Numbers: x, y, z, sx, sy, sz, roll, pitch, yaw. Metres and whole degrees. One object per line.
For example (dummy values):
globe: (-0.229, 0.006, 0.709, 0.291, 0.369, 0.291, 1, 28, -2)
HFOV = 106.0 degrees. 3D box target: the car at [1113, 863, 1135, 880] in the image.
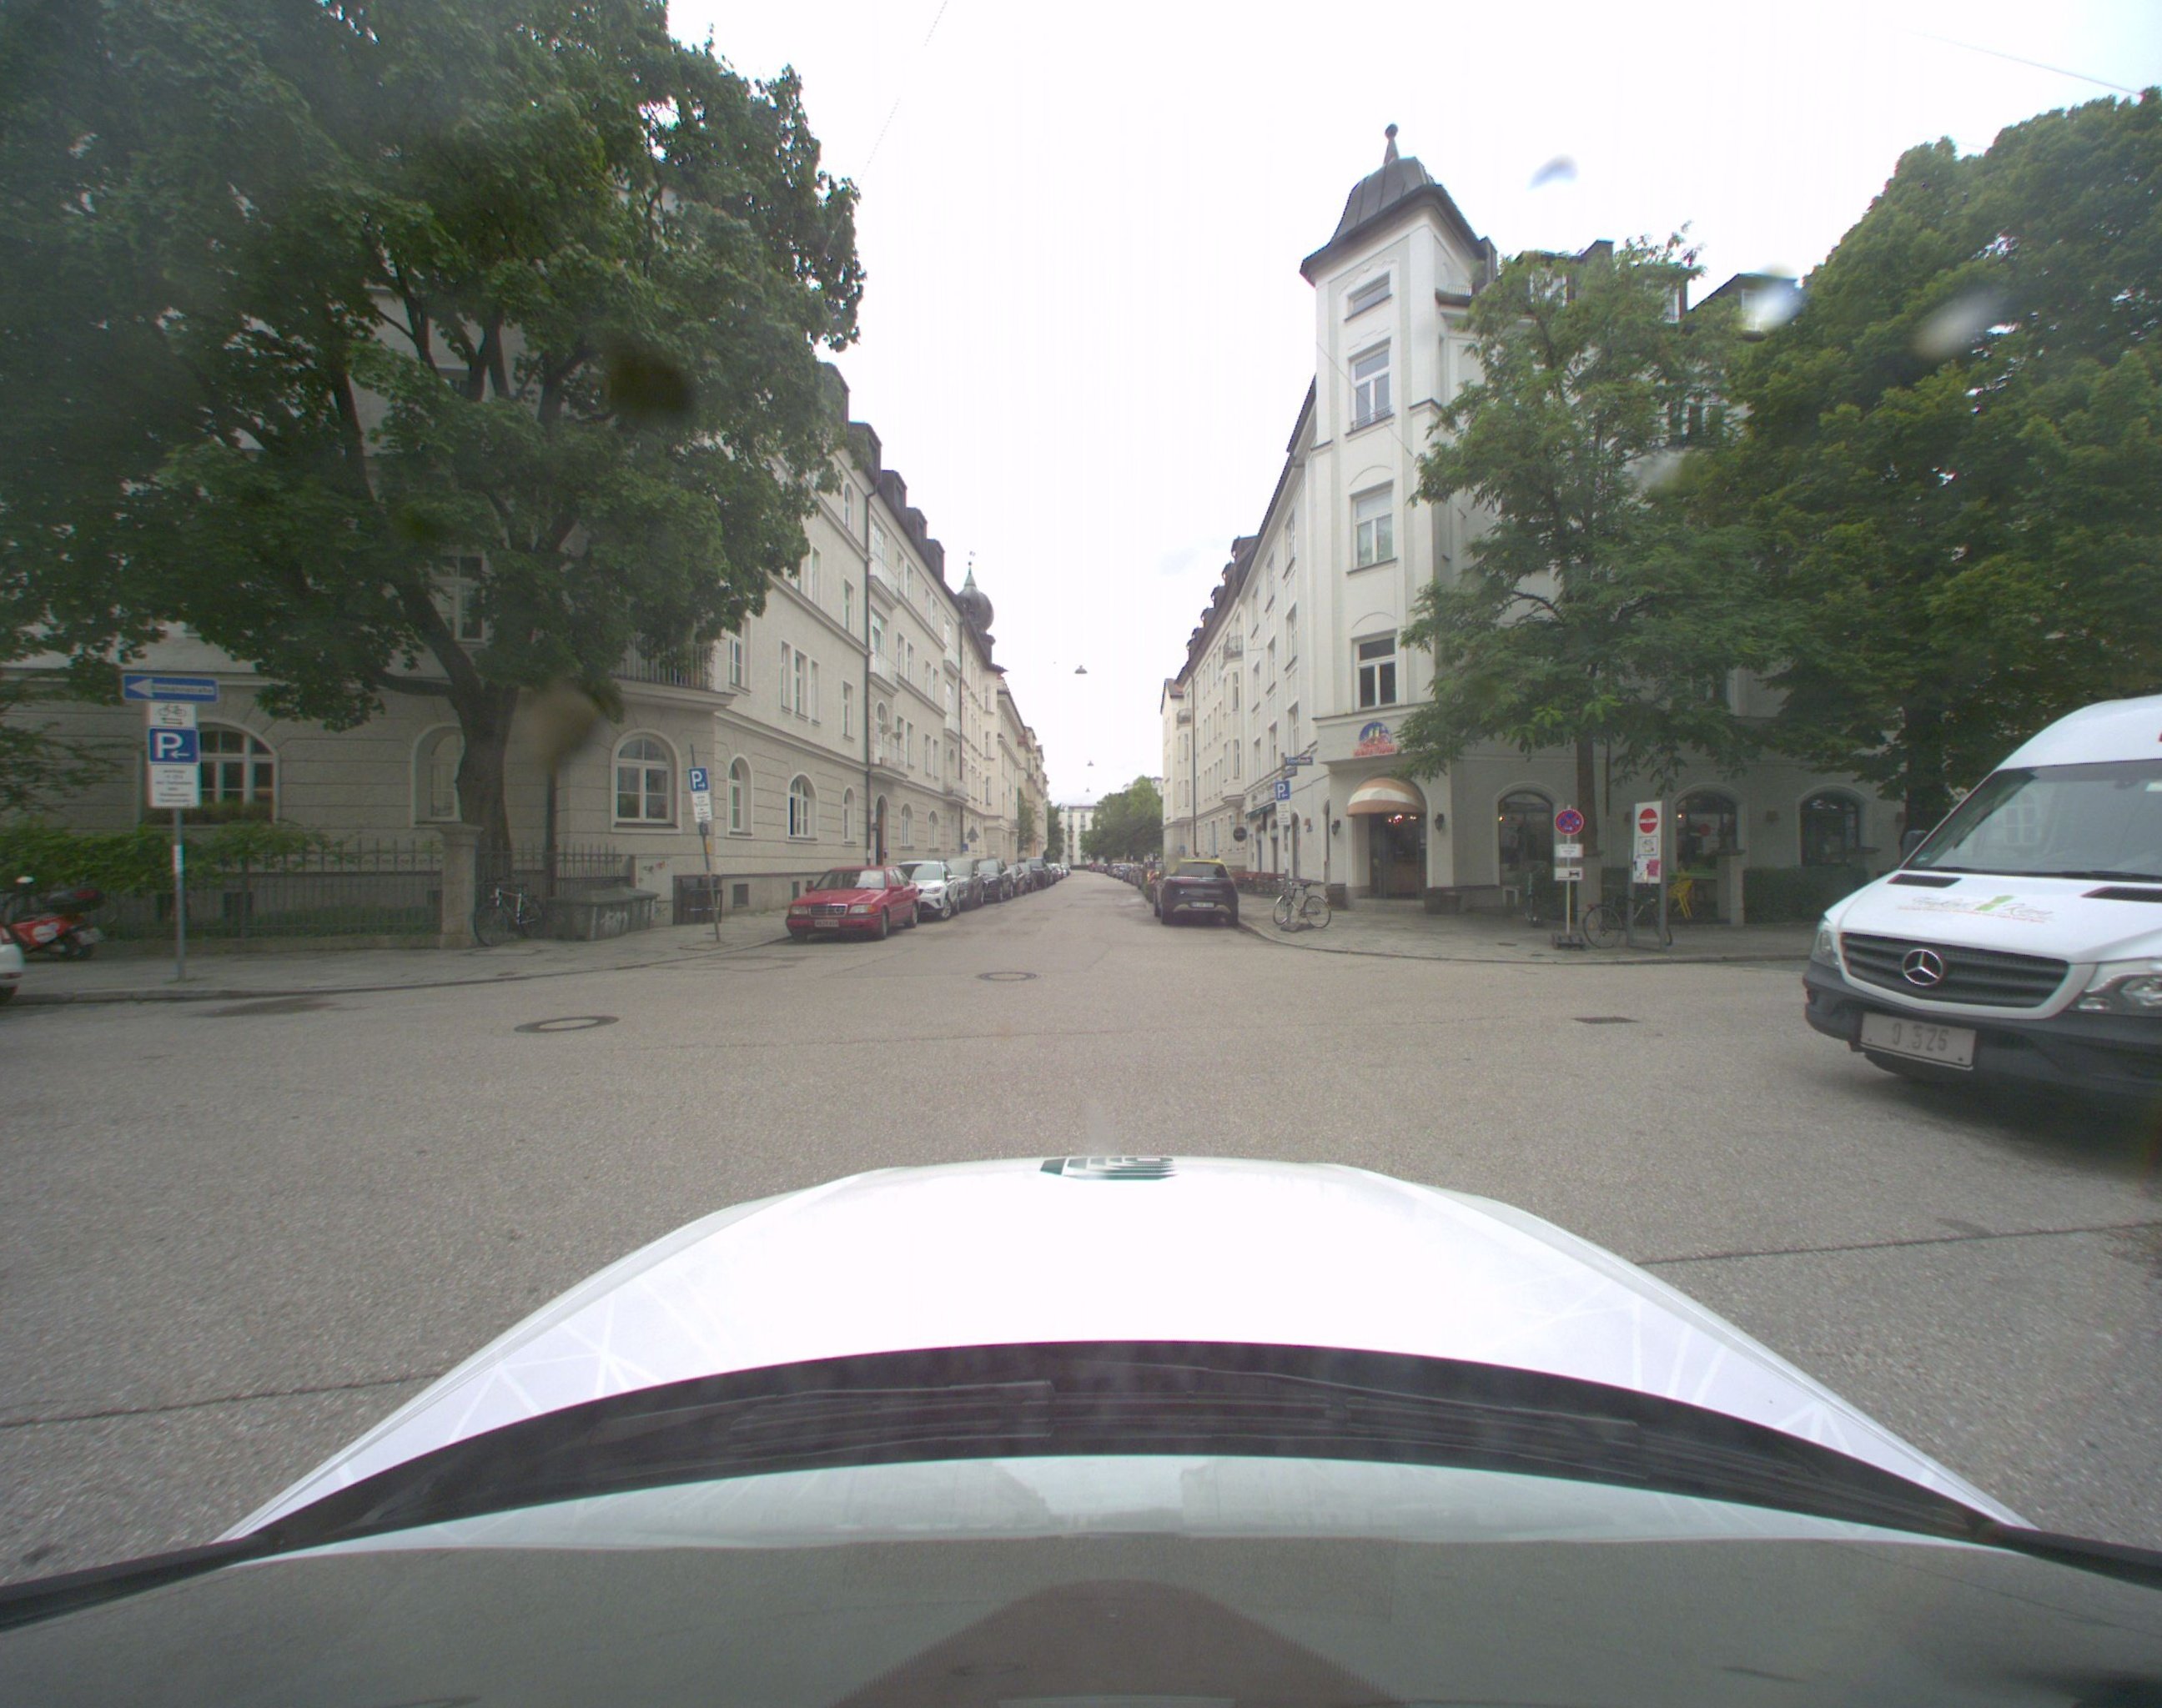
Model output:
car: (4.164, 1.677, 79.148, 1.901, 1.576, 3.999, 0, -1, -1)

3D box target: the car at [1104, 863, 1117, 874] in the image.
car: (4.865, 2.380, 135.049, 1.944, 1.652, 3.998, -2, -1, -1)

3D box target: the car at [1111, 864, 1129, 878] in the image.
car: (4.274, 1.866, 89.876, 1.724, 1.417, 3.850, 0, -1, -1)

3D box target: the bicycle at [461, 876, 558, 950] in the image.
bicycle: (-9.454, 0.935, 13.550, 0.493, 1.052, 1.823, 0, 1, -7)

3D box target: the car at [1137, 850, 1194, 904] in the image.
car: (3.152, 0.822, 31.155, 1.813, 1.871, 4.290, 2, -1, 2)

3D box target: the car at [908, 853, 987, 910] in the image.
car: (-4.206, 0.841, 26.326, 1.988, 1.676, 4.009, 0, -1, -2)

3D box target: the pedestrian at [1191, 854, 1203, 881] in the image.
pedestrian: (7.947, 0.903, 55.743, 0.773, 1.851, 0.861, -1, -1, 9)

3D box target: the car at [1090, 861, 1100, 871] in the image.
car: (2.947, 2.554, 174.482, 1.988, 1.982, 4.889, 0, 0, -2)

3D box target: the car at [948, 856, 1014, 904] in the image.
car: (-3.747, 0.947, 31.207, 1.987, 1.676, 4.287, 0, -1, -1)

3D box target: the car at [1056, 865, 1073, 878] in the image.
car: (-2.033, 2.087, 98.526, 1.988, 1.574, 3.998, 0, -1, -1)

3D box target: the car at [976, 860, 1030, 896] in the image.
car: (-3.538, 1.052, 37.496, 1.918, 1.546, 4.003, 0, 0, 3)

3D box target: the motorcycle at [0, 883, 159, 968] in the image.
motorcycle: (-14.271, 0.987, 11.361, 1.981, 1.112, 0.590, 0, 0, -6)

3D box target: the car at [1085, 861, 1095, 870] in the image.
car: (1.990, 2.695, 185.699, 1.988, 1.982, 4.889, 0, 0, -2)

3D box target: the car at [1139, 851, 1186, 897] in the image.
car: (3.633, 0.857, 36.809, 1.813, 1.923, 4.185, 2, -1, 2)

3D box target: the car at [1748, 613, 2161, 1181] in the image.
car: (7.724, 0.163, 5.100, 5.888, 2.591, 2.055, 0, 1, -8)

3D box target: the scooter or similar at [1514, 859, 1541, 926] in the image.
scooter or similar: (9.100, 0.758, 16.623, 0.423, 1.279, 1.286, 0, 1, 26)

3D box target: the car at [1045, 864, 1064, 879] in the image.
car: (-2.532, 1.649, 77.381, 1.729, 1.420, 3.998, 0, 0, -1)

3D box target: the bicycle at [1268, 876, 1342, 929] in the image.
bicycle: (4.730, 1.006, 17.309, 0.541, 0.999, 1.743, -4, 1, -22)

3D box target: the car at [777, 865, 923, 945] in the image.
car: (-4.490, 0.923, 16.465, 1.725, 1.378, 4.226, 0, -1, 0)

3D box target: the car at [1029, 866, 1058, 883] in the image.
car: (-2.729, 1.482, 59.843, 1.900, 1.222, 4.000, 0, 0, 1)

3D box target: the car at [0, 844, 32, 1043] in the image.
car: (-10.619, 0.750, 5.281, 4.305, 1.607, 1.952, -1, 0, -17)

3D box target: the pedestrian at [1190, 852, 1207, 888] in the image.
pedestrian: (6.134, 0.807, 42.614, 0.775, 1.851, 1.023, -1, -1, 2)

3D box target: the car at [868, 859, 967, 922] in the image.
car: (-4.174, 0.885, 21.491, 1.989, 1.473, 4.213, 0, -1, -4)

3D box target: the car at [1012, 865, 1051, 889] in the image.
car: (-2.865, 1.346, 48.098, 1.899, 1.329, 4.002, 0, 0, 2)

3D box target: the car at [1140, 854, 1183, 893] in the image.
car: (4.023, 0.938, 41.261, 1.985, 1.856, 4.349, 0, 0, 4)

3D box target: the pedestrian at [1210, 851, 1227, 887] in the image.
pedestrian: (7.073, 0.768, 41.929, 0.775, 1.851, 1.023, -1, -1, 2)

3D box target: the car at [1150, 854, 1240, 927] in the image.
car: (2.825, 0.867, 21.044, 1.813, 1.636, 4.290, 2, -1, 2)

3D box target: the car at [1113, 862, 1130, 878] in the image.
car: (5.307, 2.118, 107.936, 1.987, 1.982, 4.892, 0, 0, 0)

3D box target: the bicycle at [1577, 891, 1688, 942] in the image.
bicycle: (9.128, 1.037, 13.508, 1.405, 0.783, 0.545, -2, -1, 10)

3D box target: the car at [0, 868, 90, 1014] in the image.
car: (-12.694, 0.864, 7.788, 3.983, 1.449, 1.681, 0, -1, -7)

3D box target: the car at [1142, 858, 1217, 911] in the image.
car: (3.042, 0.908, 25.997, 1.969, 1.498, 4.639, 2, -1, 2)

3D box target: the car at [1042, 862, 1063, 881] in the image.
car: (-2.475, 1.482, 71.423, 1.815, 1.574, 3.998, 0, -1, -1)

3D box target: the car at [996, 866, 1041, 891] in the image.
car: (-3.270, 1.294, 43.454, 1.899, 1.222, 4.002, 0, 0, 2)
